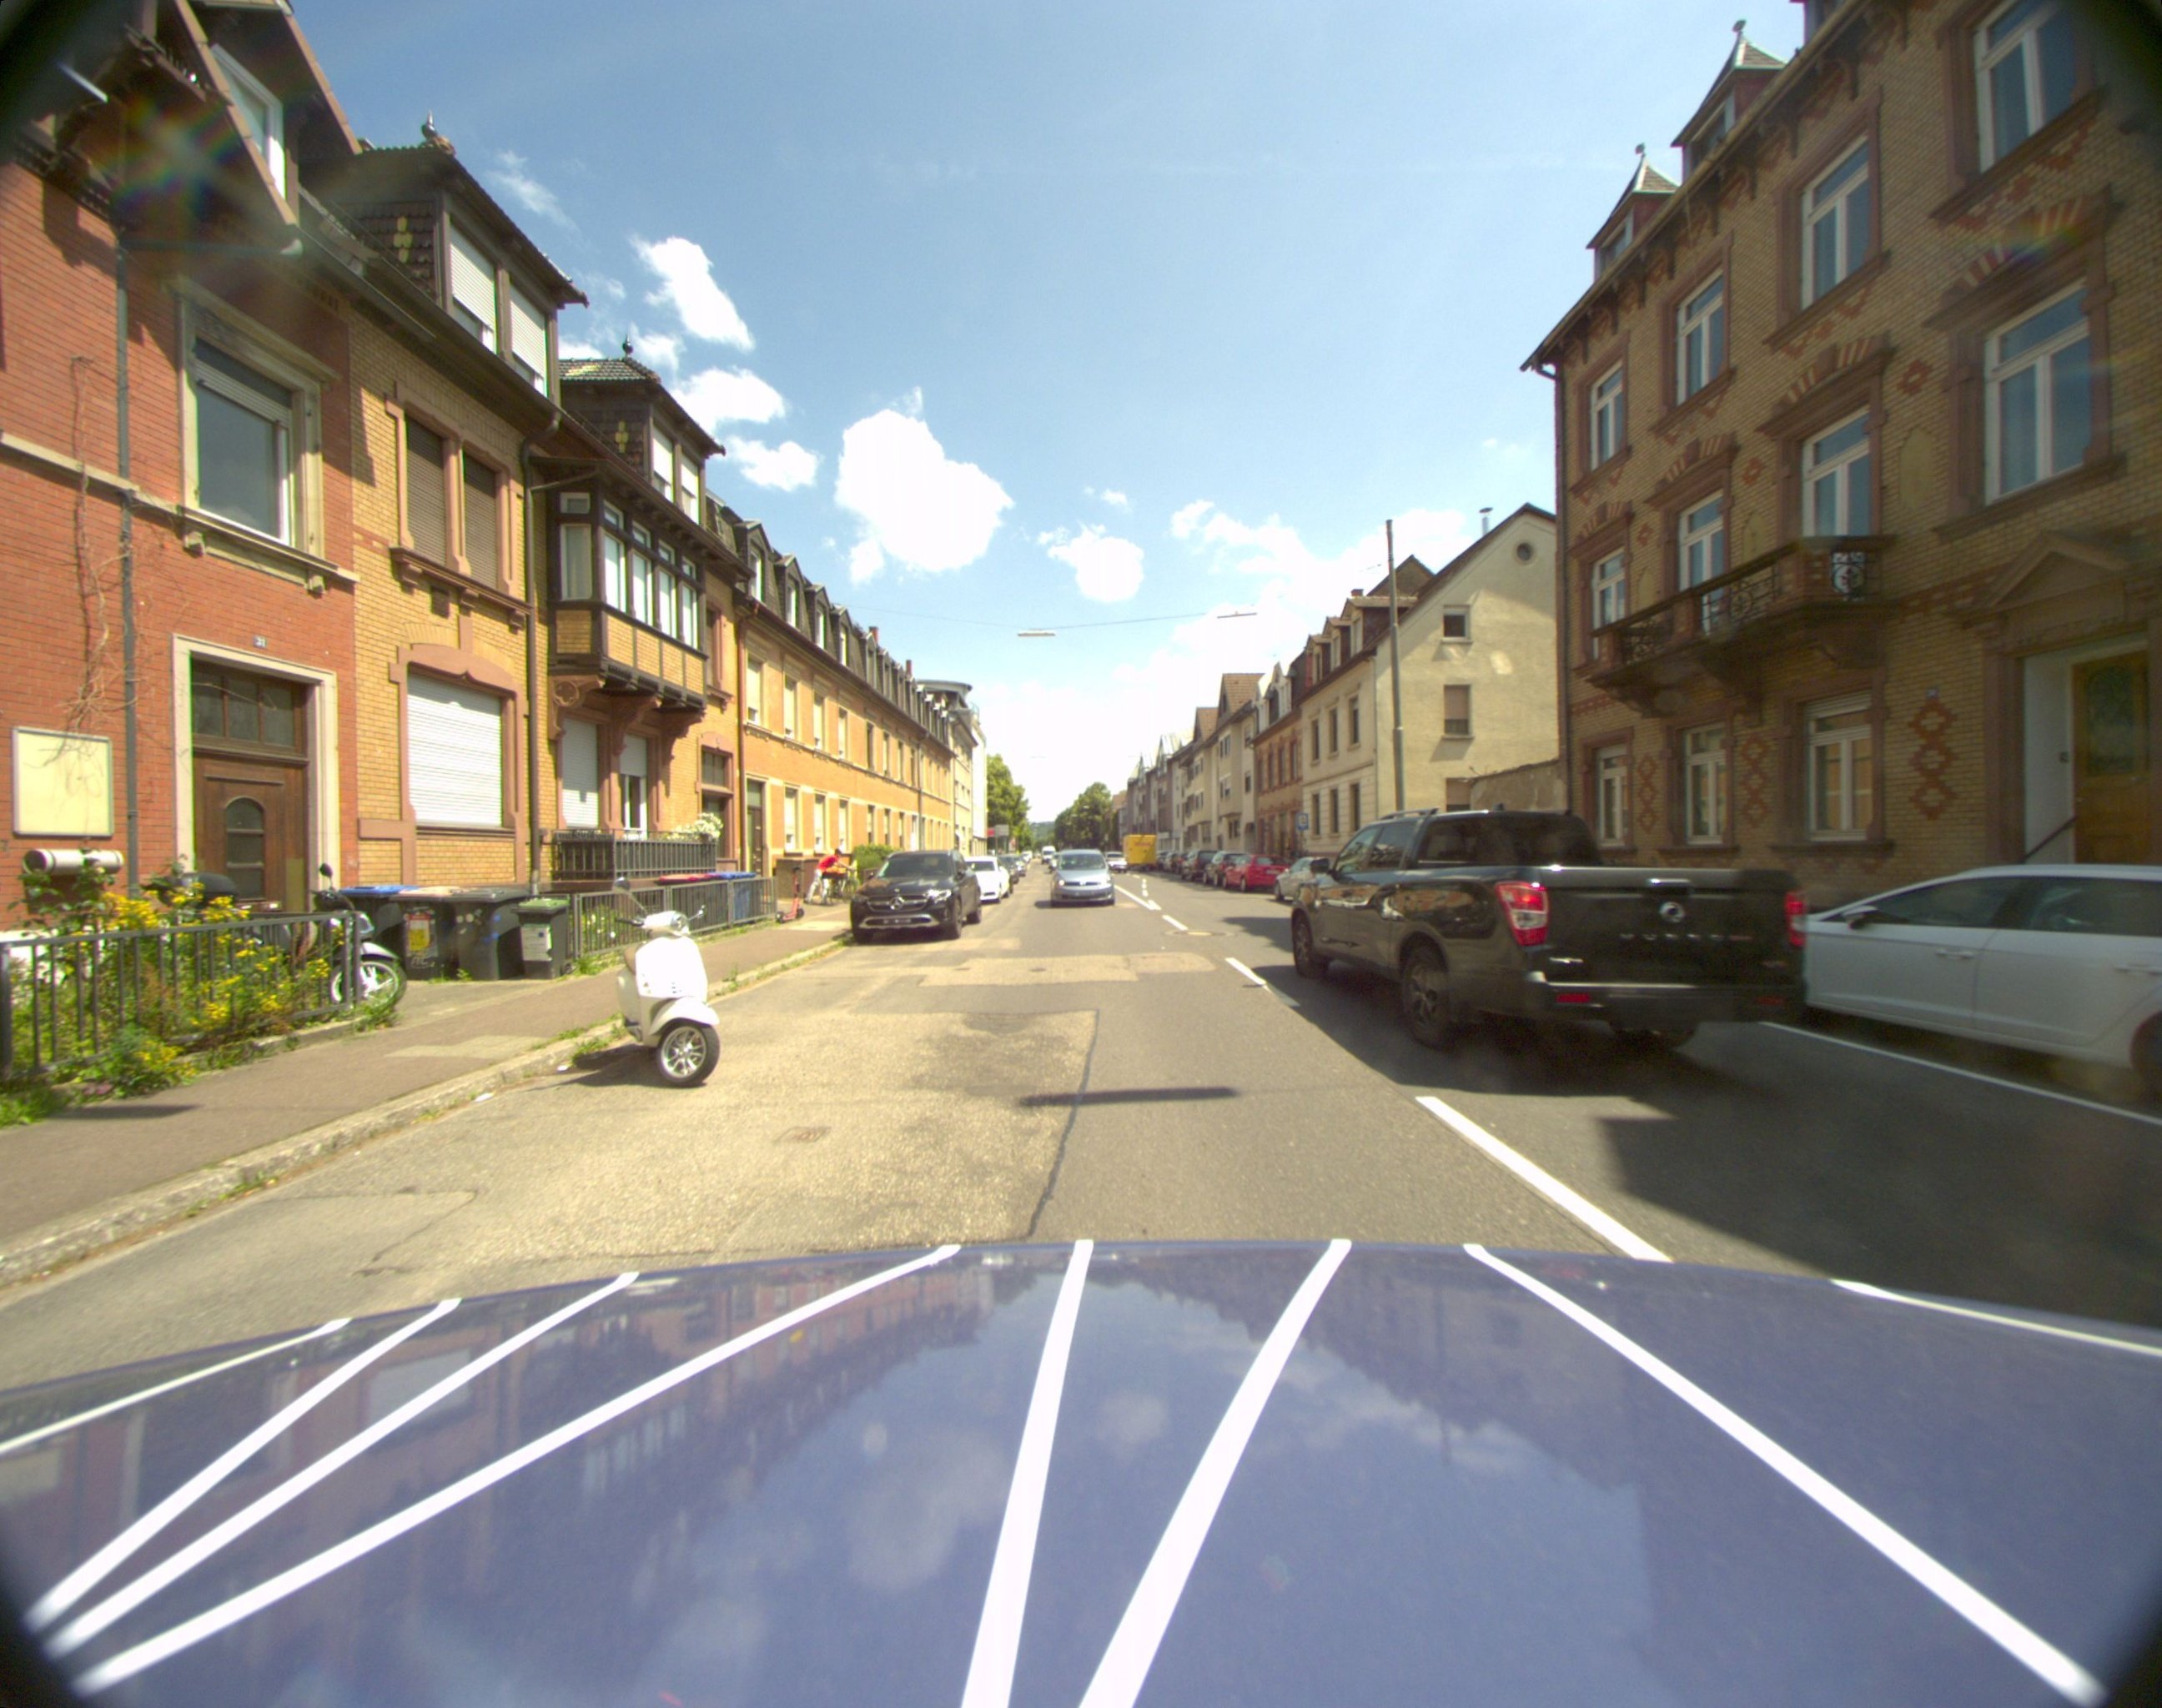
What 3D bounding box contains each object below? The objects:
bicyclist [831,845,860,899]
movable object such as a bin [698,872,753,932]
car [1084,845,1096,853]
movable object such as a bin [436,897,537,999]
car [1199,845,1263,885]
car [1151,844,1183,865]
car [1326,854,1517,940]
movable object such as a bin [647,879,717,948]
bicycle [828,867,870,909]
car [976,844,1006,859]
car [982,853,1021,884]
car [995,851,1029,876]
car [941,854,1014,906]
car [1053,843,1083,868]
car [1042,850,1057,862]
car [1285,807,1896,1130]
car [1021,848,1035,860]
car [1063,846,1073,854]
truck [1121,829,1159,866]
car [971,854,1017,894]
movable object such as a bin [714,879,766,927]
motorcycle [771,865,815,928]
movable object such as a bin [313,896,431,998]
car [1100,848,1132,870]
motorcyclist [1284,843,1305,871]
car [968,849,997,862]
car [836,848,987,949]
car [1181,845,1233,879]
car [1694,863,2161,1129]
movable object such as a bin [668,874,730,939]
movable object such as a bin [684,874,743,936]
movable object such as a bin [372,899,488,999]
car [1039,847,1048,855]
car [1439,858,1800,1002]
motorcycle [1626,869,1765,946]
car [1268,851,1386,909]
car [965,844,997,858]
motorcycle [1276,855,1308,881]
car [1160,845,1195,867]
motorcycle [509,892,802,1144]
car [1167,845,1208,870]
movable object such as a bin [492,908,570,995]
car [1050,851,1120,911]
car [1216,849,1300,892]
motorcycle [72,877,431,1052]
[{"bbox_3d":[-6.551,0.484,21.124,0.534,1.461,0.790,0,1,0],"label":"bicyclist"},{"bbox_3d":[-6.730,0.896,14.410,0.790,1.082,0.539,-1,1,-3],"label":"movable object such as a bin"},{"bbox_3d":[1.761,-1.000,145.679,1.891,1.531,4.565,-1,1,-5],"label":"car"},{"bbox_3d":[-6.871,1.067,8.812,0.558,1.069,0.727,-1,1,1],"label":"movable object such as a bin"},{"bbox_3d":[6.651,0.442,34.158,1.845,1.587,4.500,2,1,-2],"label":"car"},{"bbox_3d":[7.104,0.020,63.168,1.845,1.587,4.384,-3,1,-3],"label":"car"},{"bbox_3d":[7.032,0.804,16.329,1.845,1.414,4.500,3,1,-2],"label":"car"},{"bbox_3d":[-6.639,0.974,12.672,0.790,1.082,0.686,-1,1,-3],"label":"movable object such as a bin"},{"bbox_3d":[-6.508,0.919,21.361,0.595,1.060,1.882,0,1,0],"label":"bicycle"},{"bbox_3d":[-14.613,-0.437,123.172,4.615,2.263,2.105,-3,1,-3],"label":"car"},{"bbox_3d":[-3.957,0.685,38.439,1.705,1.373,4.164,-2,1,-3],"label":"car"},{"bbox_3d":[-4.481,0.586,48.923,1.860,1.455,4.546,-2,1,-9],"label":"car"},{"bbox_3d":[-3.216,0.758,24.367,1.721,1.406,4.588,-1,1,0],"label":"car"},{"bbox_3d":[-0.898,0.048,54.020,1.999,1.652,4.624,0,1,-1],"label":"car"},{"bbox_3d":[-3.986,0.198,95.895,1.721,1.406,4.588,-1,1,0],"label":"car"},{"bbox_3d":[3.491,0.605,6.760,1.998,1.782,5.147,0,1,0],"label":"car"},{"bbox_3d":[-7.296,-0.051,104.128,1.772,1.477,3.888,-2,1,-5],"label":"car"},{"bbox_3d":[-2.663,-0.844,160.307,1.817,1.611,4.439,-1,1,-5],"label":"car"},{"bbox_3d":[4.620,-0.558,60.670,2.231,2.755,7.561,1,1,-2],"label":"truck"},{"bbox_3d":[-3.544,0.758,30.936,1.653,1.406,4.498,-2,1,-7],"label":"car"},{"bbox_3d":[-6.735,0.967,15.041,0.790,0.902,0.539,-1,1,-3],"label":"movable object such as a bin"},{"bbox_3d":[-6.002,0.864,15.882,0.441,1.230,1.357,0,1,-1],"label":"motorcycle"},{"bbox_3d":[-8.195,1.053,8.810,0.610,1.070,0.761,-1,1,0],"label":"movable object such as a bin"},{"bbox_3d":[2.349,0.304,52.360,1.795,1.412,4.312,0,1,-3],"label":"car"},{"bbox_3d":[9.602,0.115,34.178,0.720,1.241,0.712,-1,1,-2],"label":"motorcyclist"},{"bbox_3d":[-13.204,0.216,101.457,3.775,1.658,1.662,-1,1,-8],"label":"car"},{"bbox_3d":[-3.146,0.743,15.184,1.999,1.652,4.624,0,1,-1],"label":"car"},{"bbox_3d":[6.419,0.356,39.189,1.844,1.588,4.500,1,1,-1],"label":"car"},{"bbox_3d":[7.022,0.855,5.191,1.845,1.414,4.500,1,1,-3],"label":"car"},{"bbox_3d":[-6.652,0.905,13.252,0.790,1.082,0.553,-1,1,-3],"label":"movable object such as a bin"},{"bbox_3d":[-6.684,0.911,13.836,0.790,1.082,0.543,-1,1,-3],"label":"movable object such as a bin"},{"bbox_3d":[-7.514,1.073,8.807,0.660,1.049,0.748,-1,1,0],"label":"movable object such as a bin"},{"bbox_3d":[-7.636,-0.633,155.983,1.721,1.406,4.588,-1,1,0],"label":"car"},{"bbox_3d":[7.071,0.863,10.736,1.844,1.414,4.501,3,1,0],"label":"car"},{"bbox_3d":[9.682,0.801,12.080,0.715,1.047,1.936,-1,1,3],"label":"motorcycle"},{"bbox_3d":[7.030,0.682,22.251,1.844,1.414,4.500,1,1,-1],"label":"car"},{"bbox_3d":[-12.943,-0.421,98.826,3.998,1.741,2.015,-2,1,-4],"label":"car"},{"bbox_3d":[9.470,0.632,34.206,0.847,1.072,1.871,-2,1,-1],"label":"motorcycle"},{"bbox_3d":[7.219,0.104,57.211,1.845,1.479,4.384,-3,1,-2],"label":"car"},{"bbox_3d":[-3.126,1.021,5.527,1.990,1.378,1.115,-1,2,38],"label":"motorcycle"},{"bbox_3d":[7.265,0.203,52.035,1.845,1.479,4.500,-3,1,-3],"label":"car"},{"bbox_3d":[-6.385,1.116,8.842,0.482,0.936,0.526,-1,1,0],"label":"movable object such as a bin"},{"bbox_3d":[0.026,0.693,22.078,1.747,1.513,4.221,-1,1,-3],"label":"car"},{"bbox_3d":[6.640,0.577,29.020,1.845,1.414,4.500,2,1,-4],"label":"car"},{"bbox_3d":[-7.288,0.939,6.787,2.134,1.400,0.937,1,1,-1],"label":"motorcycle"}]
